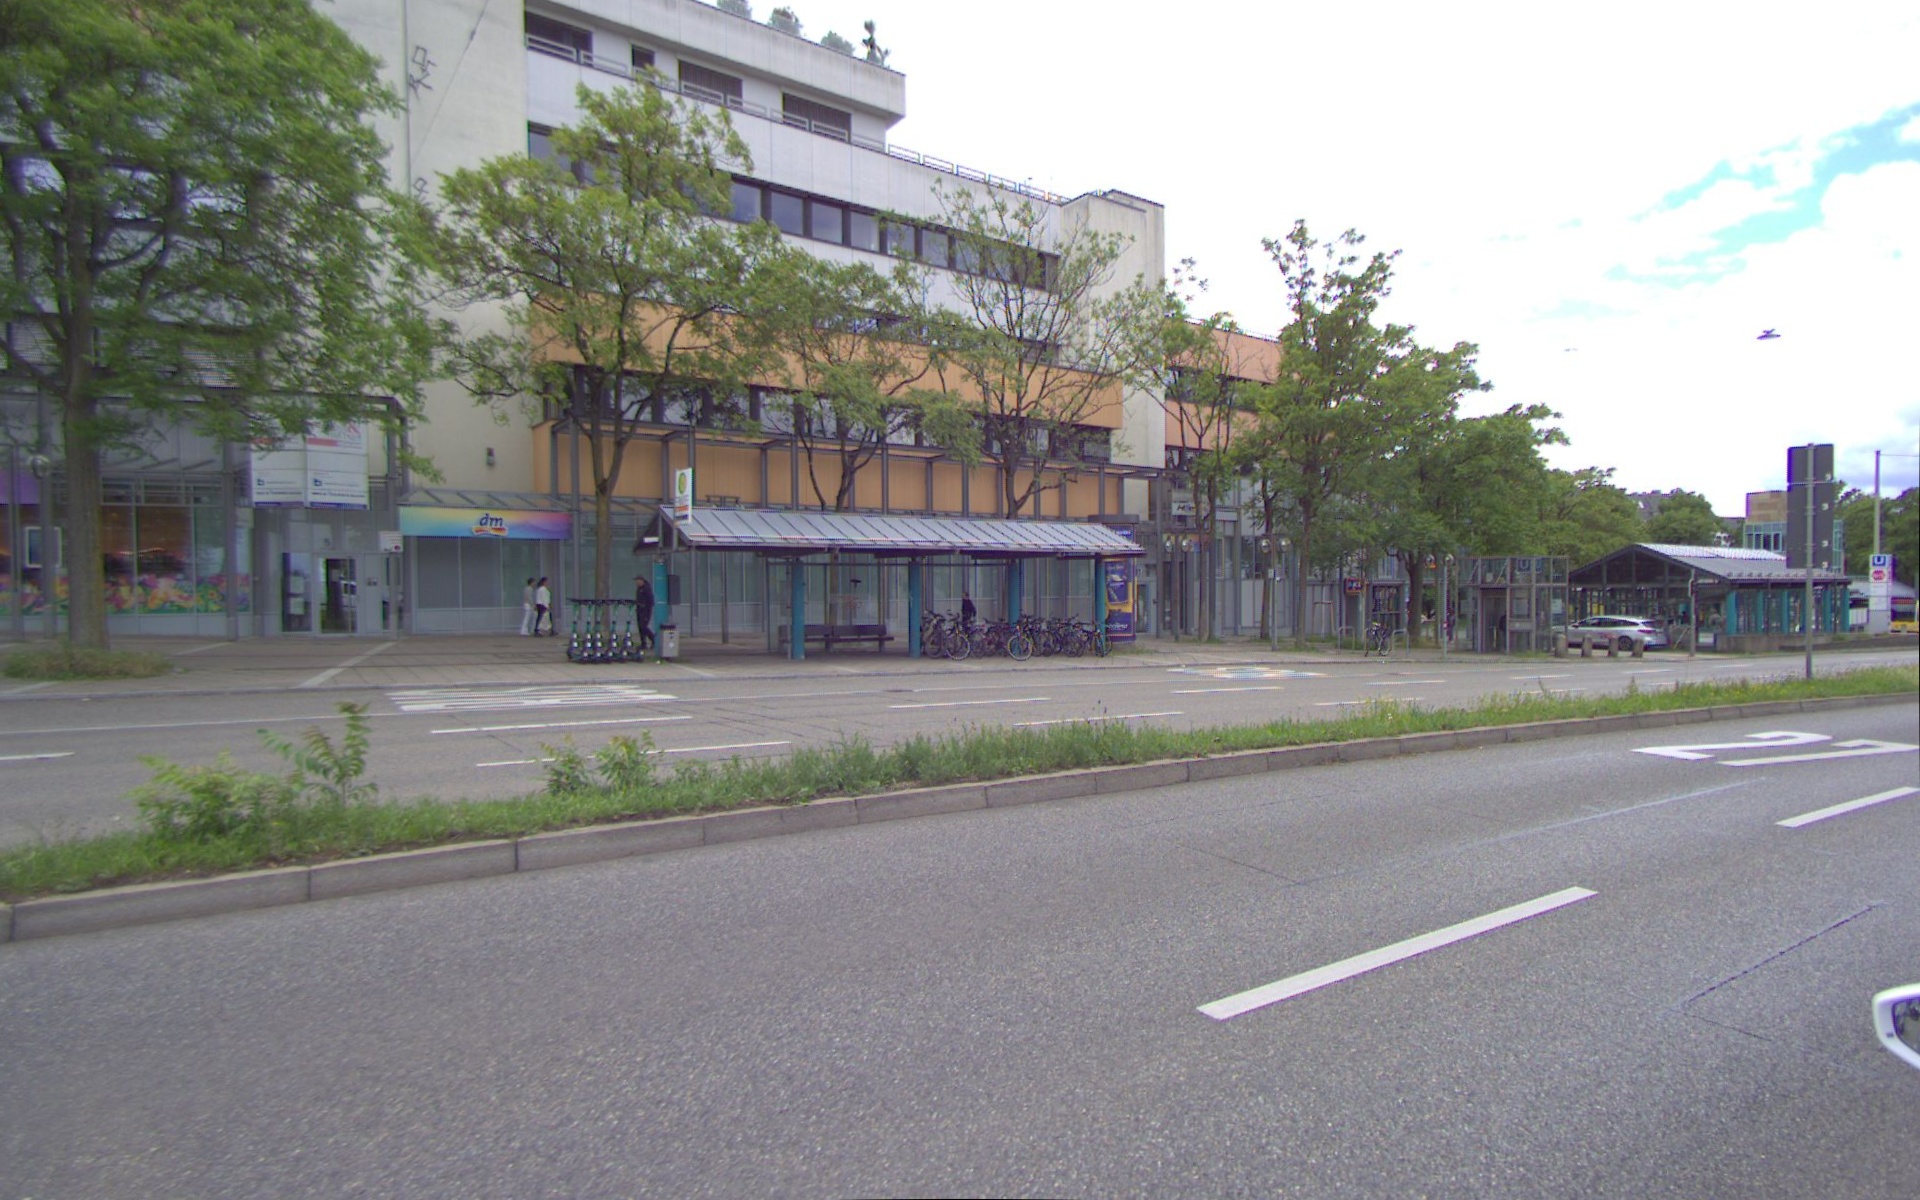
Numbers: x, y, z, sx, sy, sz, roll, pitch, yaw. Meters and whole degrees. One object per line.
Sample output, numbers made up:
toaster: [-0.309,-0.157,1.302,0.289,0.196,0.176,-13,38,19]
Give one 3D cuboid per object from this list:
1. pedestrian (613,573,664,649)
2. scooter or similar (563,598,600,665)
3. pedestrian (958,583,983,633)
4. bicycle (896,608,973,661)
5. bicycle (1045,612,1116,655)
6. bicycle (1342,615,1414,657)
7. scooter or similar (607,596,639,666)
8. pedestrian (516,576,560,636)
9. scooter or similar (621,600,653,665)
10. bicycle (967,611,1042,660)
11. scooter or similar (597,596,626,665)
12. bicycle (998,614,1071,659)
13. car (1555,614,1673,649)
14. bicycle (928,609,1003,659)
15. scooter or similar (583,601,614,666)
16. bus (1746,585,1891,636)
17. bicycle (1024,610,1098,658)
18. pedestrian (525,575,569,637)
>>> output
pedestrian: [-7.755,0.260,24.237,0.987,1.805,0.728,1,0,-34]
scooter or similar: [-7.706,0.627,20.445,0.336,1.286,1.311,1,2,-37]
pedestrian: [0.351,0.277,34.342,0.667,1.665,0.529,1,0,-29]
bicycle: [-0.674,0.863,25.704,0.707,1.169,2.043,0,3,-45]
bicycle: [3.500,0.952,29.323,2.043,1.169,0.707,2,1,45]
bicycle: [13.893,1.169,33.379,2.400,1.288,1.045,1,2,-34]
scooter or similar: [-7.087,0.629,21.115,0.257,1.442,1.193,1,0,-37]
pedestrian: [-11.723,0.169,27.884,0.987,1.639,0.728,1,0,-34]
scooter or similar: [-6.852,0.669,21.294,0.257,1.338,1.193,1,0,-37]
bicycle: [1.176,0.928,26.765,2.043,1.169,0.707,2,1,45]
scooter or similar: [-7.266,0.615,20.908,0.220,1.403,1.193,1,0,-37]
bicycle: [2.055,0.985,27.903,2.044,1.169,0.707,1,0,45]
car: [28.310,1.330,43.553,1.985,1.372,3.951,1,0,-41]
bicycle: [0.119,0.879,26.540,0.707,1.169,2.043,1,2,-45]
scooter or similar: [-7.456,0.672,20.707,0.265,1.312,1.119,1,0,-37]
bus: [58.851,0.741,68.755,11.998,3.175,2.947,1,1,-26]
bicycle: [2.857,0.957,28.541,0.707,1.169,2.043,1,3,-45]
pedestrian: [-11.283,0.164,27.425,0.987,1.639,0.728,1,0,-34]
